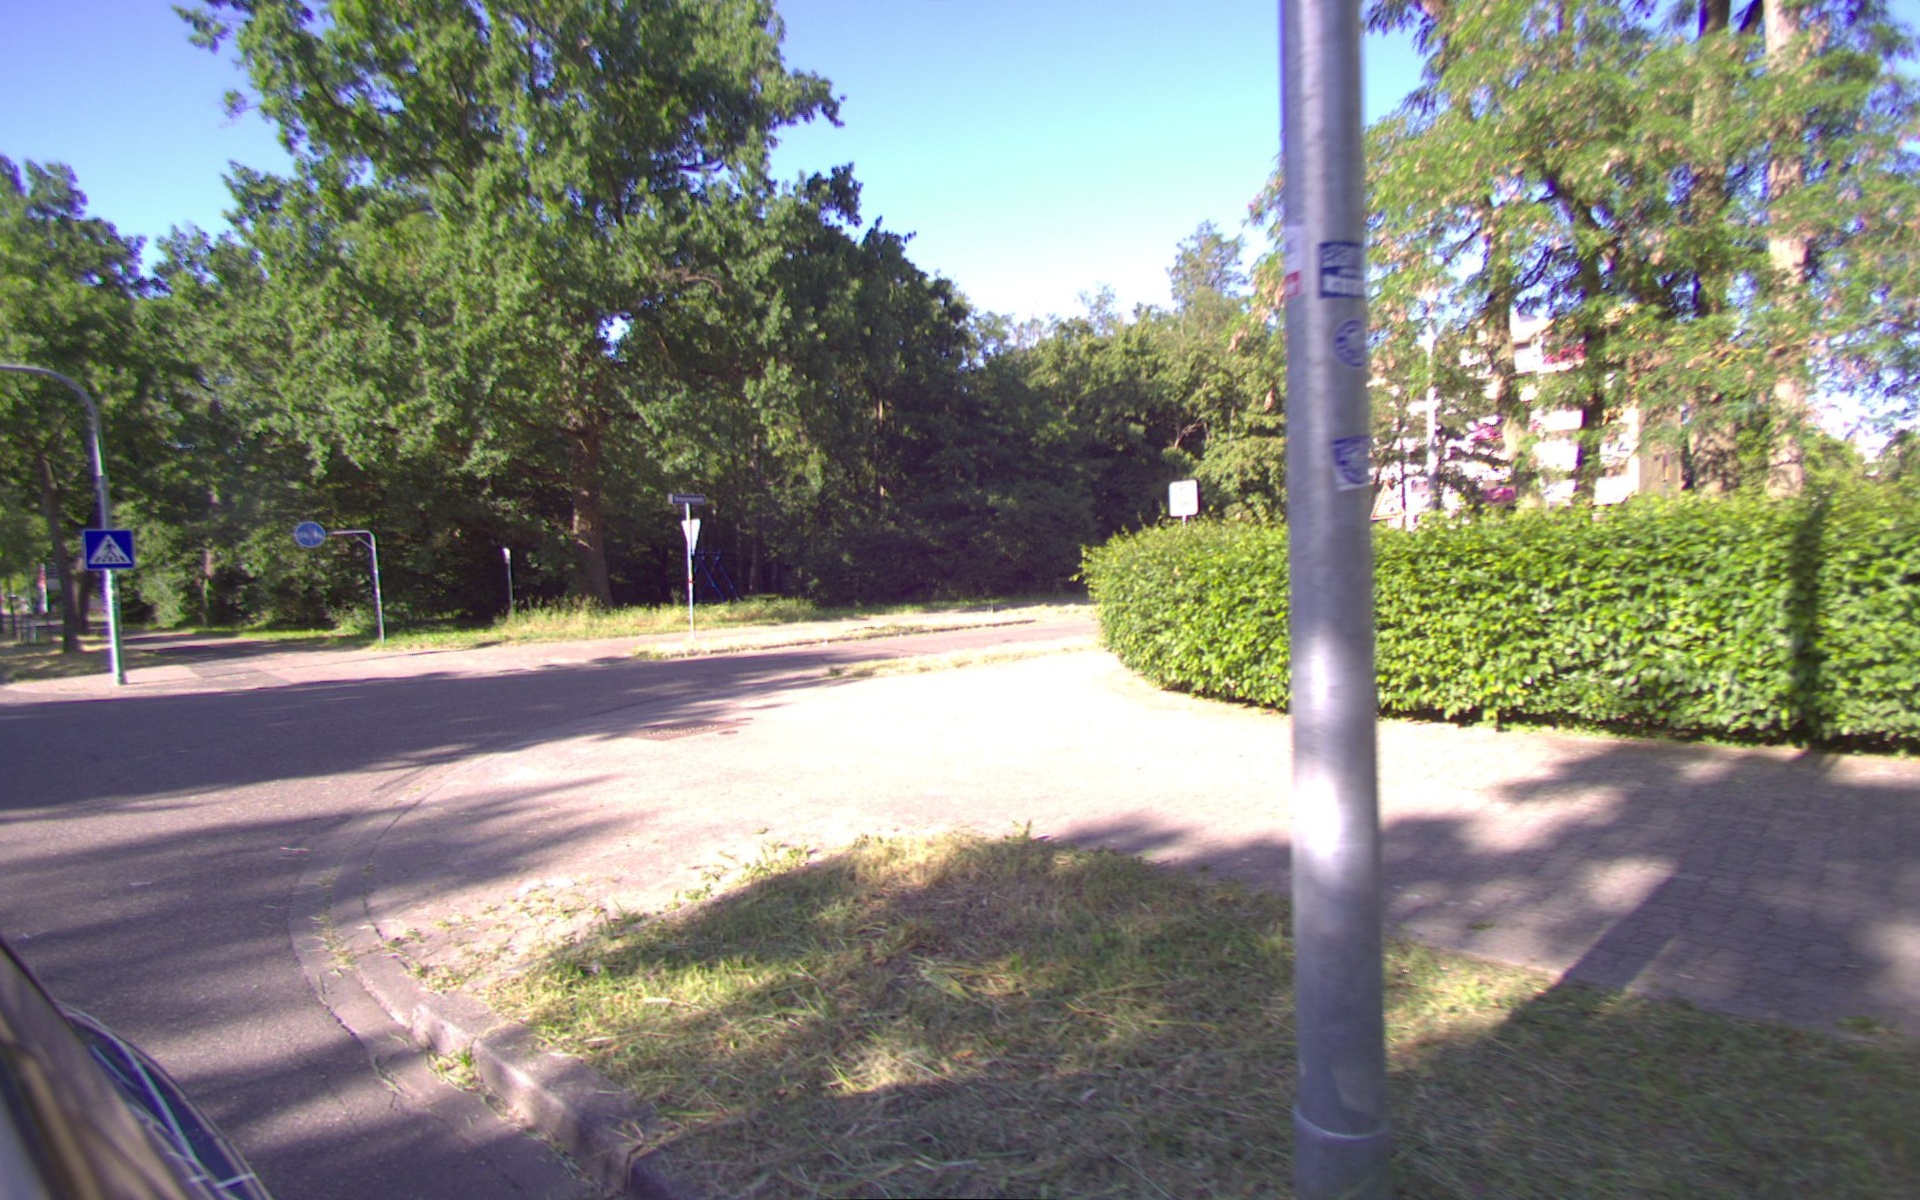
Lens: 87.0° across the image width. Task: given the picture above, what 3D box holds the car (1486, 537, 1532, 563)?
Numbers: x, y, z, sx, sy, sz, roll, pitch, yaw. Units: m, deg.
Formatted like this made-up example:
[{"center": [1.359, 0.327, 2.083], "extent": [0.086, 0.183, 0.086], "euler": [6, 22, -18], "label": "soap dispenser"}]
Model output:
[{"center": [39.580, -3.614, 72.944], "extent": [3.778, 1.757, 1.765], "euler": [-4, 2, -42], "label": "car"}]

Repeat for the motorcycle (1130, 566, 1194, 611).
[{"center": [6.577, -0.367, 32.900], "extent": [1.945, 1.354, 0.672], "euler": [-2, 1, 18], "label": "motorcycle"}]
